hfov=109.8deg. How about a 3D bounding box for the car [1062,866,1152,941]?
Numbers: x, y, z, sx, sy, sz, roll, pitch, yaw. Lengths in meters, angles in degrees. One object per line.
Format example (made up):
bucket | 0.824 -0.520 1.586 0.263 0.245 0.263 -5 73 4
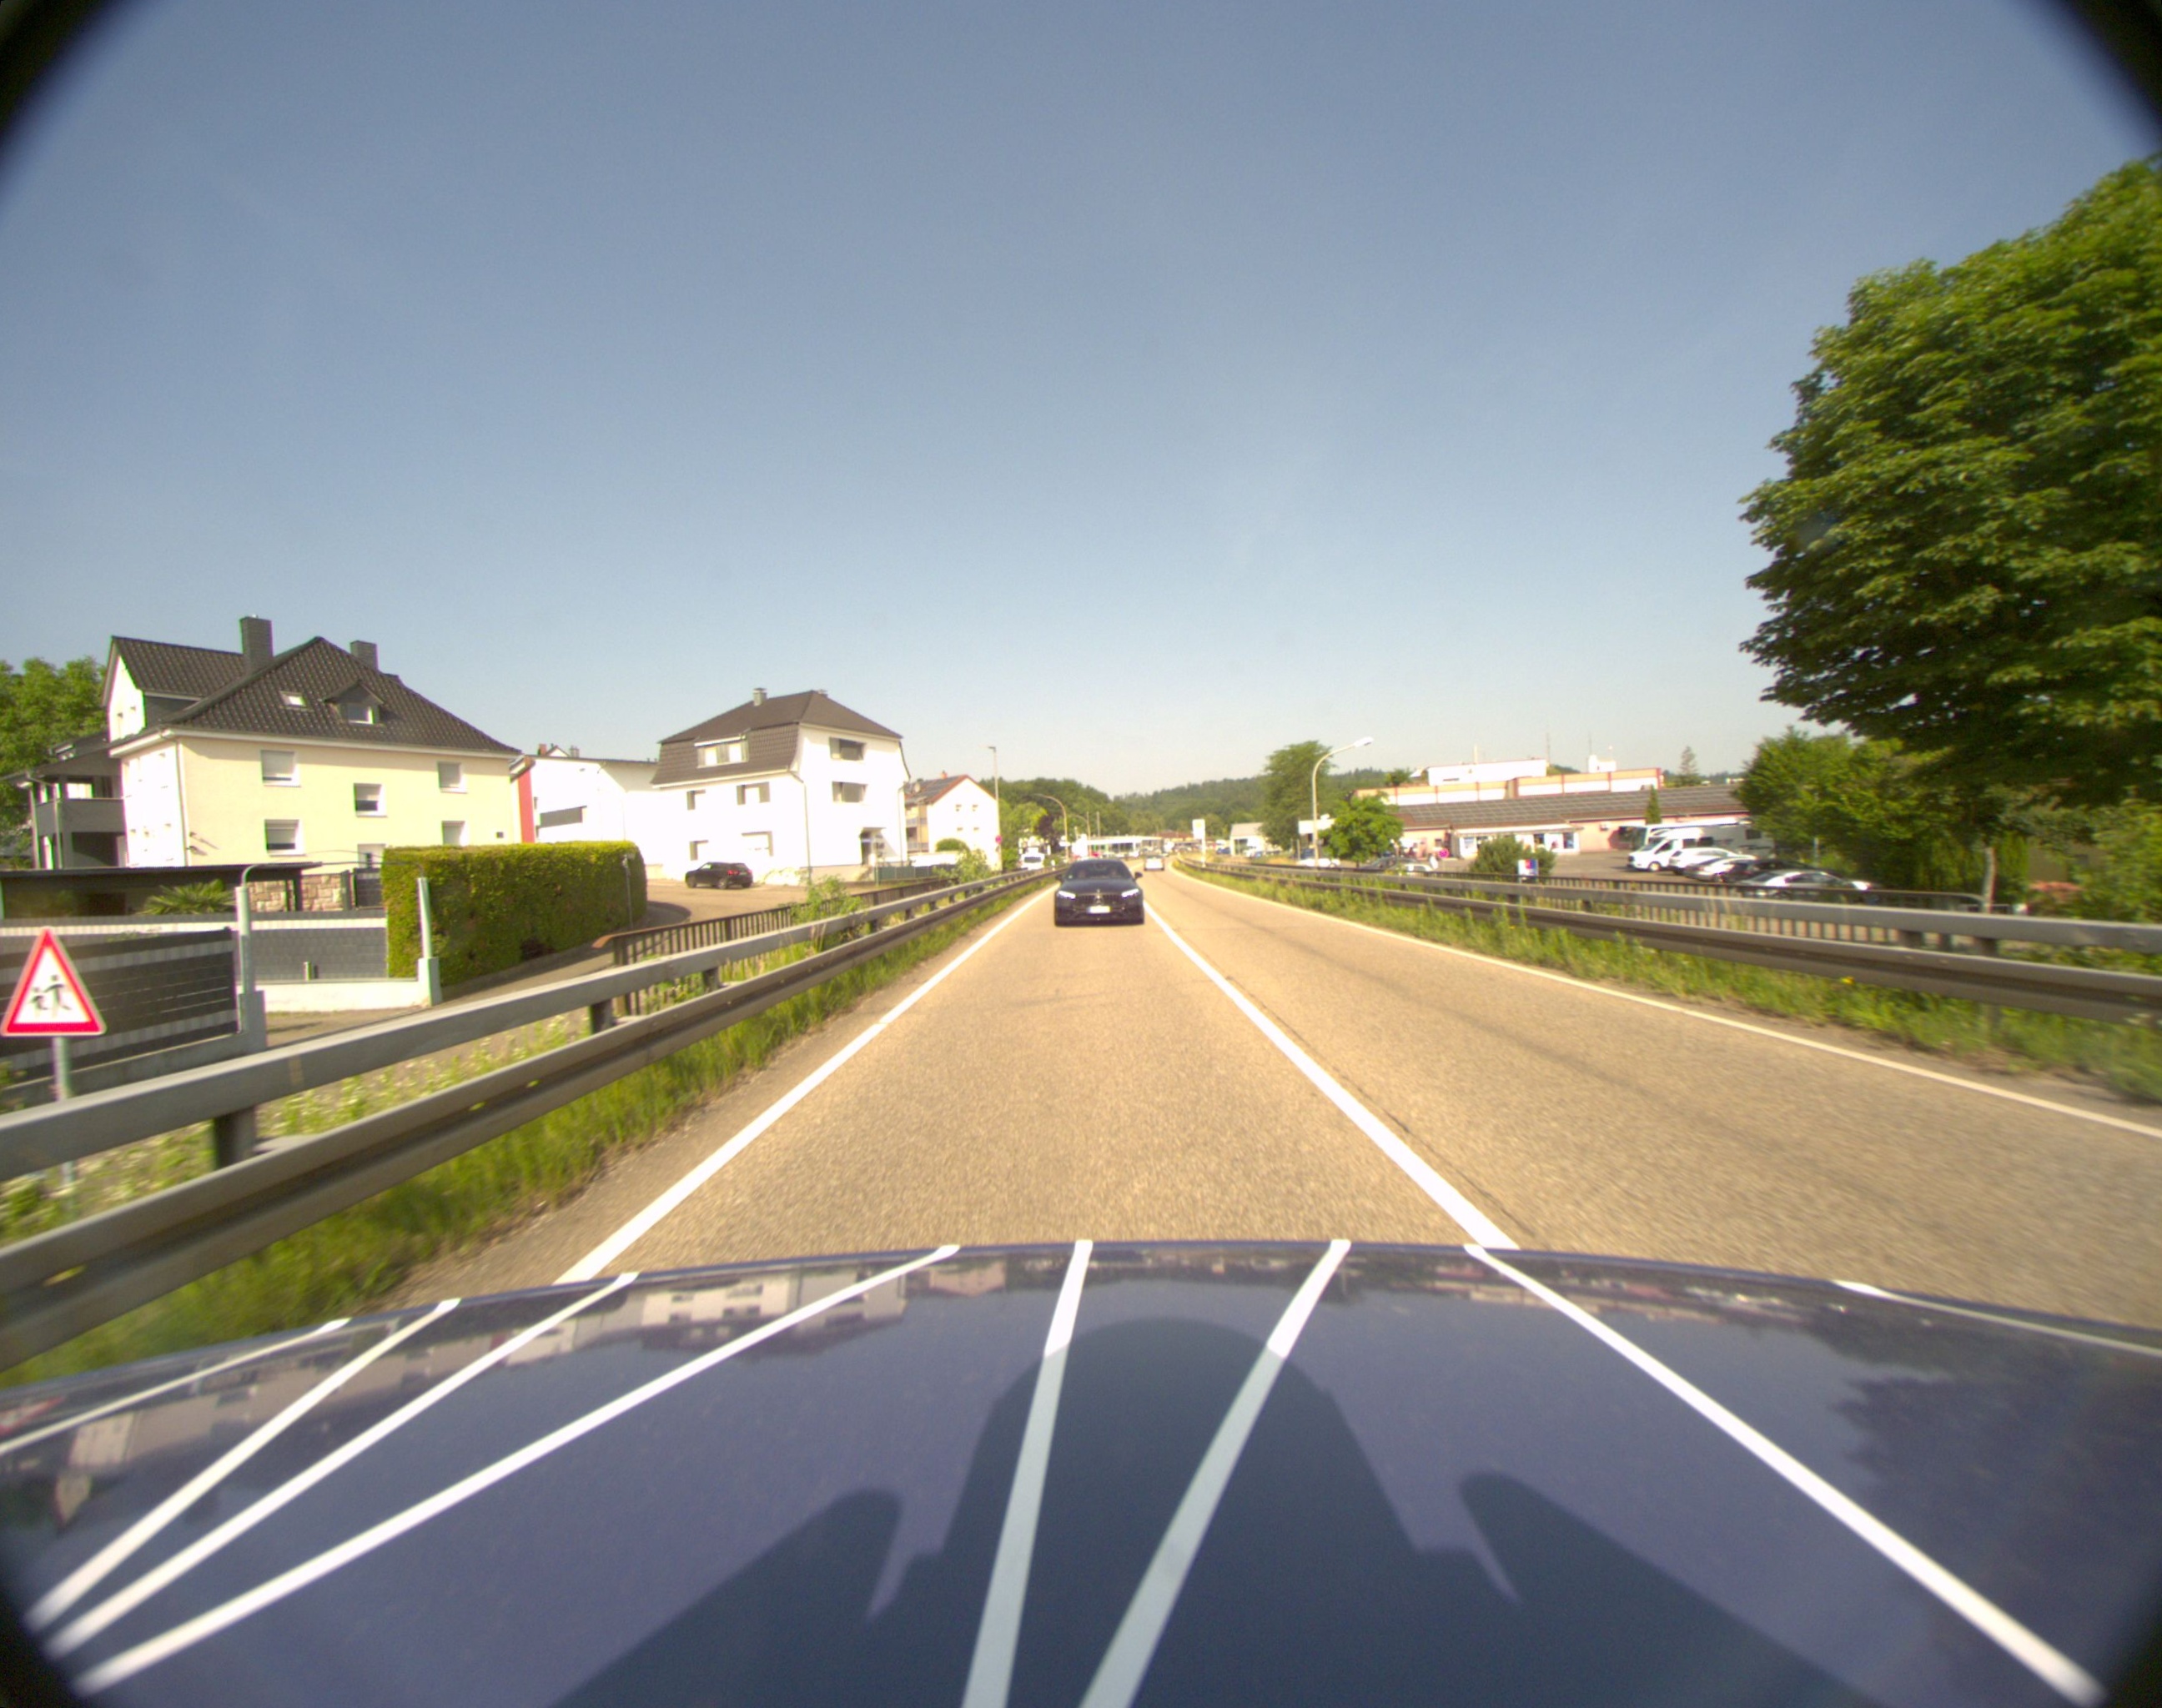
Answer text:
car | 0.476 1.044 17.606 1.716 1.382 4.145 -1 1 -3

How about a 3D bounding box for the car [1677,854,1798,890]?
car | 34.867 0.945 40.479 4.565 1.625 1.863 -2 2 13

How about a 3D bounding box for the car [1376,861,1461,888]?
car | 20.305 1.221 45.836 4.308 1.496 1.875 -1 0 7

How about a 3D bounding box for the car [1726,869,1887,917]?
car | 30.813 1.658 32.468 4.564 1.624 1.864 -5 2 20

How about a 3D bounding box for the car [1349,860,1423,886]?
car | 20.890 1.314 52.205 4.309 1.655 1.874 -1 0 3

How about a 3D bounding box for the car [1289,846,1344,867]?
car | 23.784 0.275 76.795 4.892 2.002 2.004 -1 0 36

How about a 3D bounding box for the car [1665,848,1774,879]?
car | 37.663 0.555 44.939 4.565 1.624 1.864 -2 0 13

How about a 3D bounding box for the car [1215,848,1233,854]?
car | 36.567 -0.765 193.993 4.237 1.498 1.981 -1 0 -23

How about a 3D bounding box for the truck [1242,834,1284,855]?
truck | 33.835 -1.792 140.879 8.226 3.536 2.799 -2 0 -37

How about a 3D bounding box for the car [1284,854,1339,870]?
car | 21.826 0.763 72.029 4.626 1.374 1.743 -1 0 2

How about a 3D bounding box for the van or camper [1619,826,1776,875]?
van or camper | 39.692 -0.207 49.181 7.406 2.826 2.750 -2 0 13

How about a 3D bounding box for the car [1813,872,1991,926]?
car | 30.871 1.683 28.736 4.164 1.624 1.863 -5 2 17

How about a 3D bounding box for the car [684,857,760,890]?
car | -20.976 1.101 44.357 3.988 1.655 2.003 2 5 29

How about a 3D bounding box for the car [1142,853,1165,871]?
car | 6.074 0.659 64.160 1.762 1.402 3.990 0 0 2

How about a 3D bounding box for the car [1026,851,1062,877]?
car | -2.963 0.789 61.936 1.997 1.933 5.364 -1 0 7

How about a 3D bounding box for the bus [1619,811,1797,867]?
bus | 42.855 -0.936 52.266 9.113 3.334 2.668 -2 -1 13

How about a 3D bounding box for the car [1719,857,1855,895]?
car | 34.592 1.078 37.370 4.564 1.625 1.863 -2 2 16

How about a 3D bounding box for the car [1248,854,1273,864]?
car | 29.997 0.867 126.913 3.754 1.491 1.933 -2 1 7
